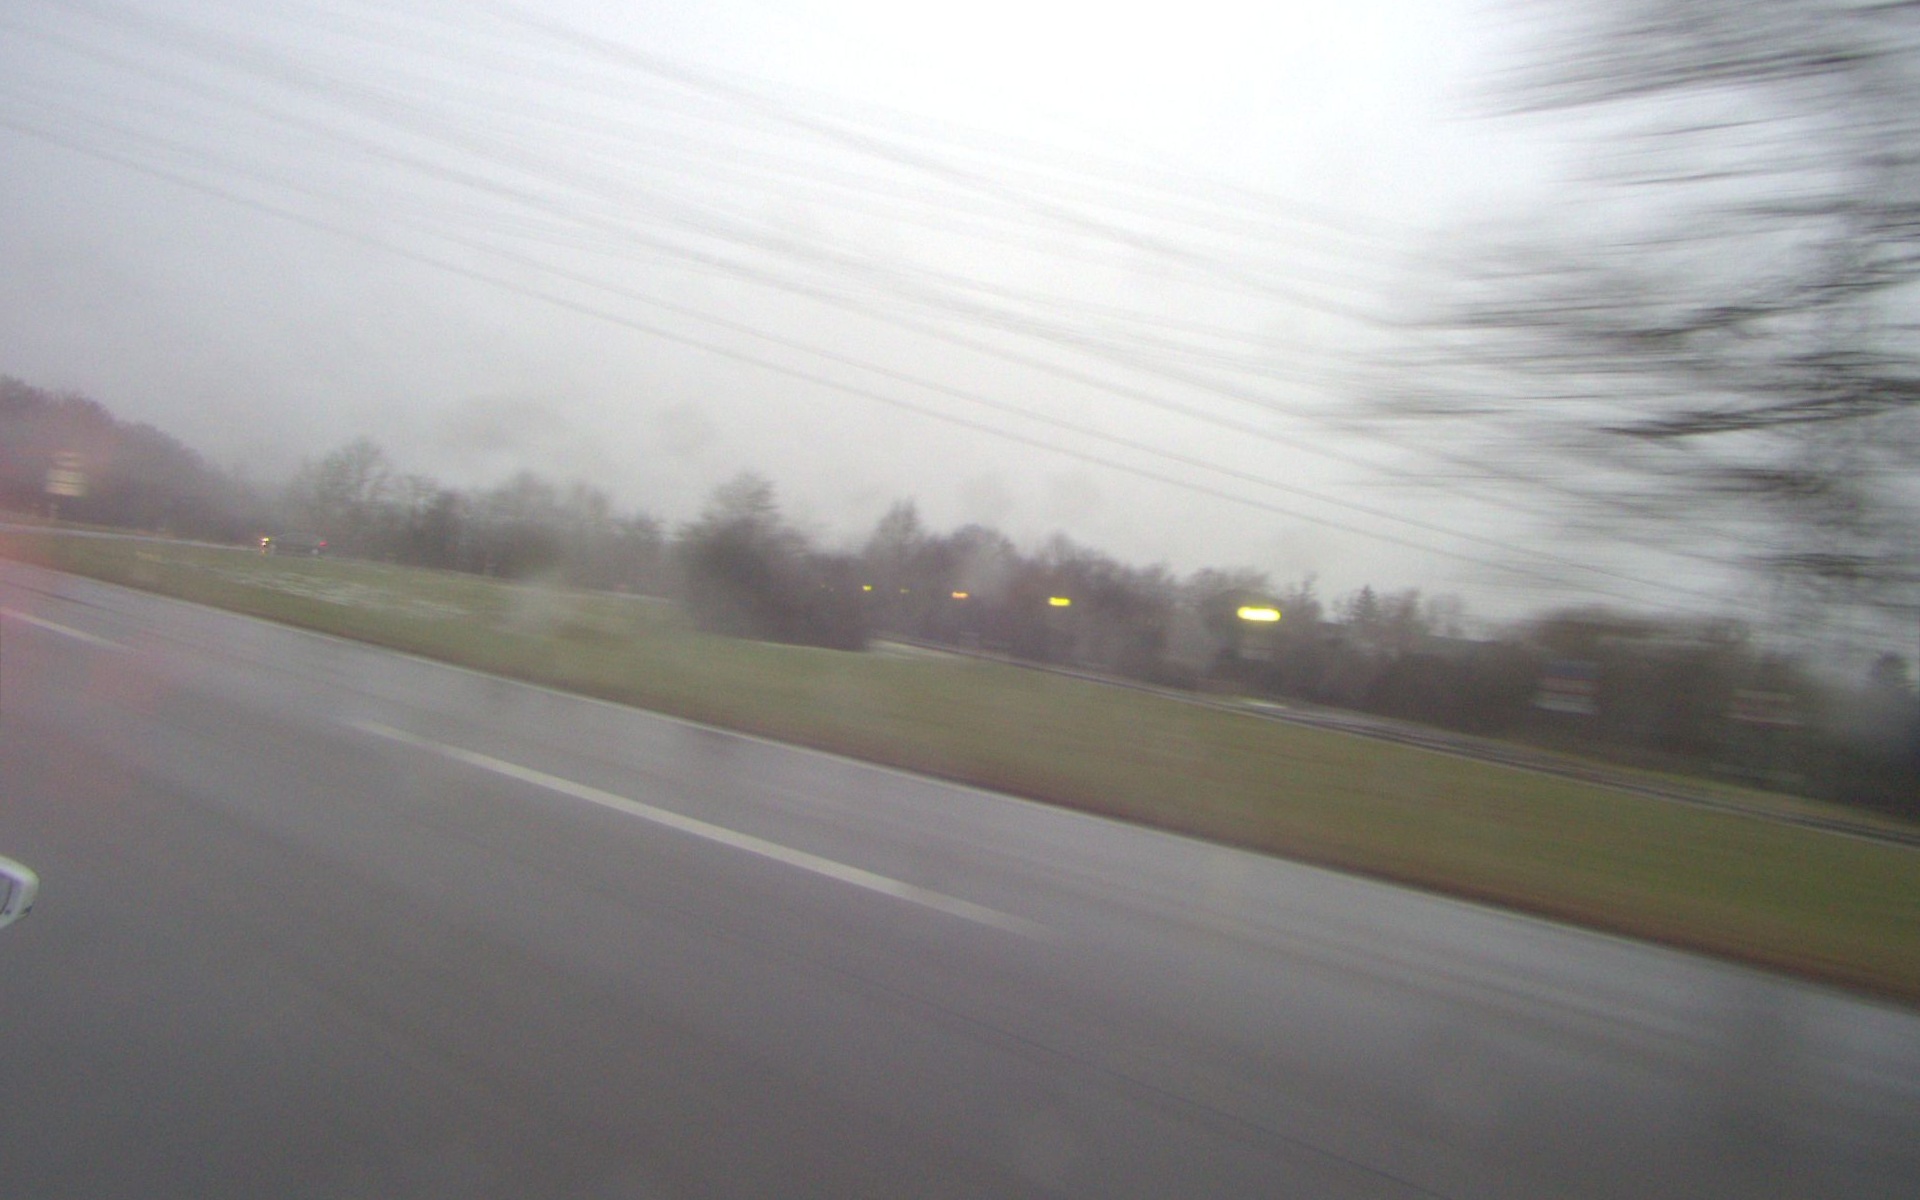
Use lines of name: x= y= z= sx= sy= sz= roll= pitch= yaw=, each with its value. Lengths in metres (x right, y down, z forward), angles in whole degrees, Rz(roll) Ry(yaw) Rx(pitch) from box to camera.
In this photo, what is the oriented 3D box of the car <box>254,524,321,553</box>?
car: x=-47.141 y=-4.299 z=70.568 sx=3.787 sy=1.451 sz=1.777 roll=9 pitch=-1 yaw=-35
